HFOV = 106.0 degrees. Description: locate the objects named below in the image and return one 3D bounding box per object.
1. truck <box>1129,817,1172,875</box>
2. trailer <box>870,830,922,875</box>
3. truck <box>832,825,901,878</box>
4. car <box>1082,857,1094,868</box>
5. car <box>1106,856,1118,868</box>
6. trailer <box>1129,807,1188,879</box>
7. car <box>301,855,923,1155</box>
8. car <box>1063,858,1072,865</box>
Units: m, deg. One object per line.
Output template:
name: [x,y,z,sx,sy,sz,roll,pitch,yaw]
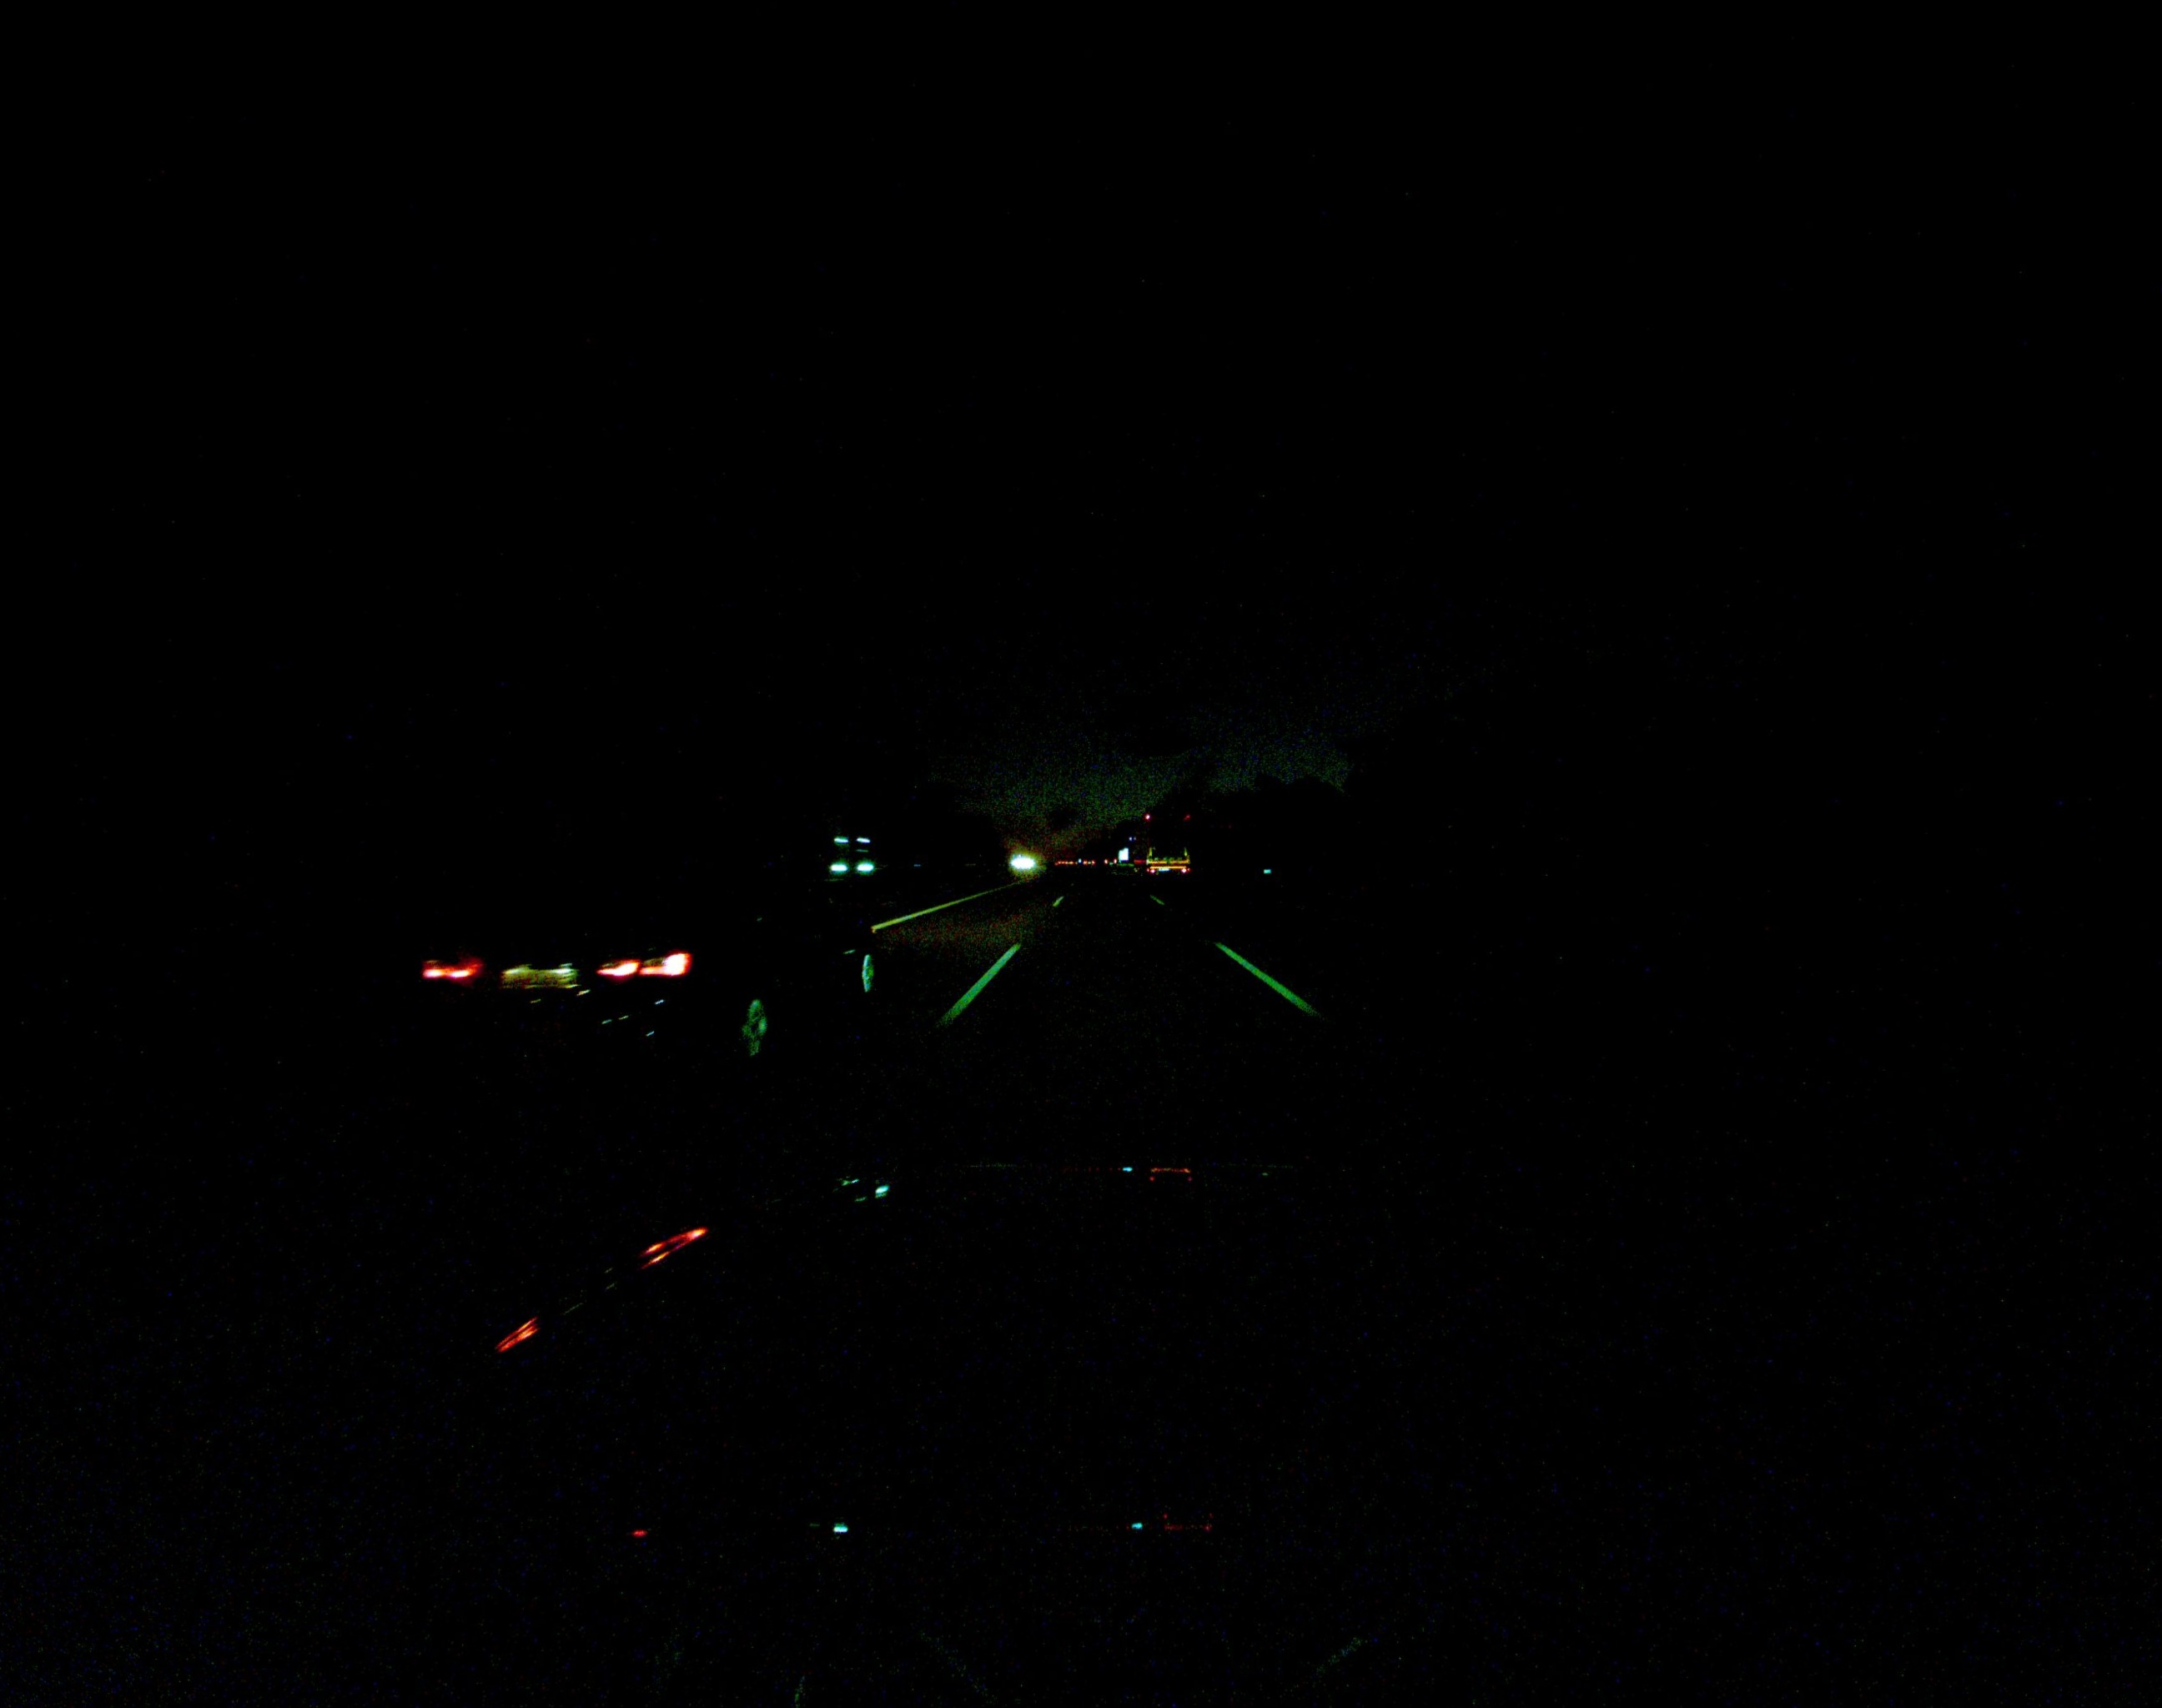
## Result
truck: [5.272,-0.574,62.685,2.819,4.256,6.263,0,0,1]
trailer: [-17.564,-0.104,77.894,2.850,4.071,8.871,0,0,1]
truck: [-17.689,-0.152,68.111,2.850,4.071,10.635,0,0,1]
car: [1.259,1.544,139.698,1.987,1.794,3.998,0,-2,0]
car: [5.466,1.436,142.003,1.987,2.117,3.999,0,-2,0]
trailer: [5.163,-0.608,57.265,2.819,4.256,17.051,0,0,1]
car: [-3.130,0.825,7.280,1.985,1.518,5.657,0,1,4]
car: [-3.175,1.787,194.706,1.987,1.794,3.999,0,-2,0]
